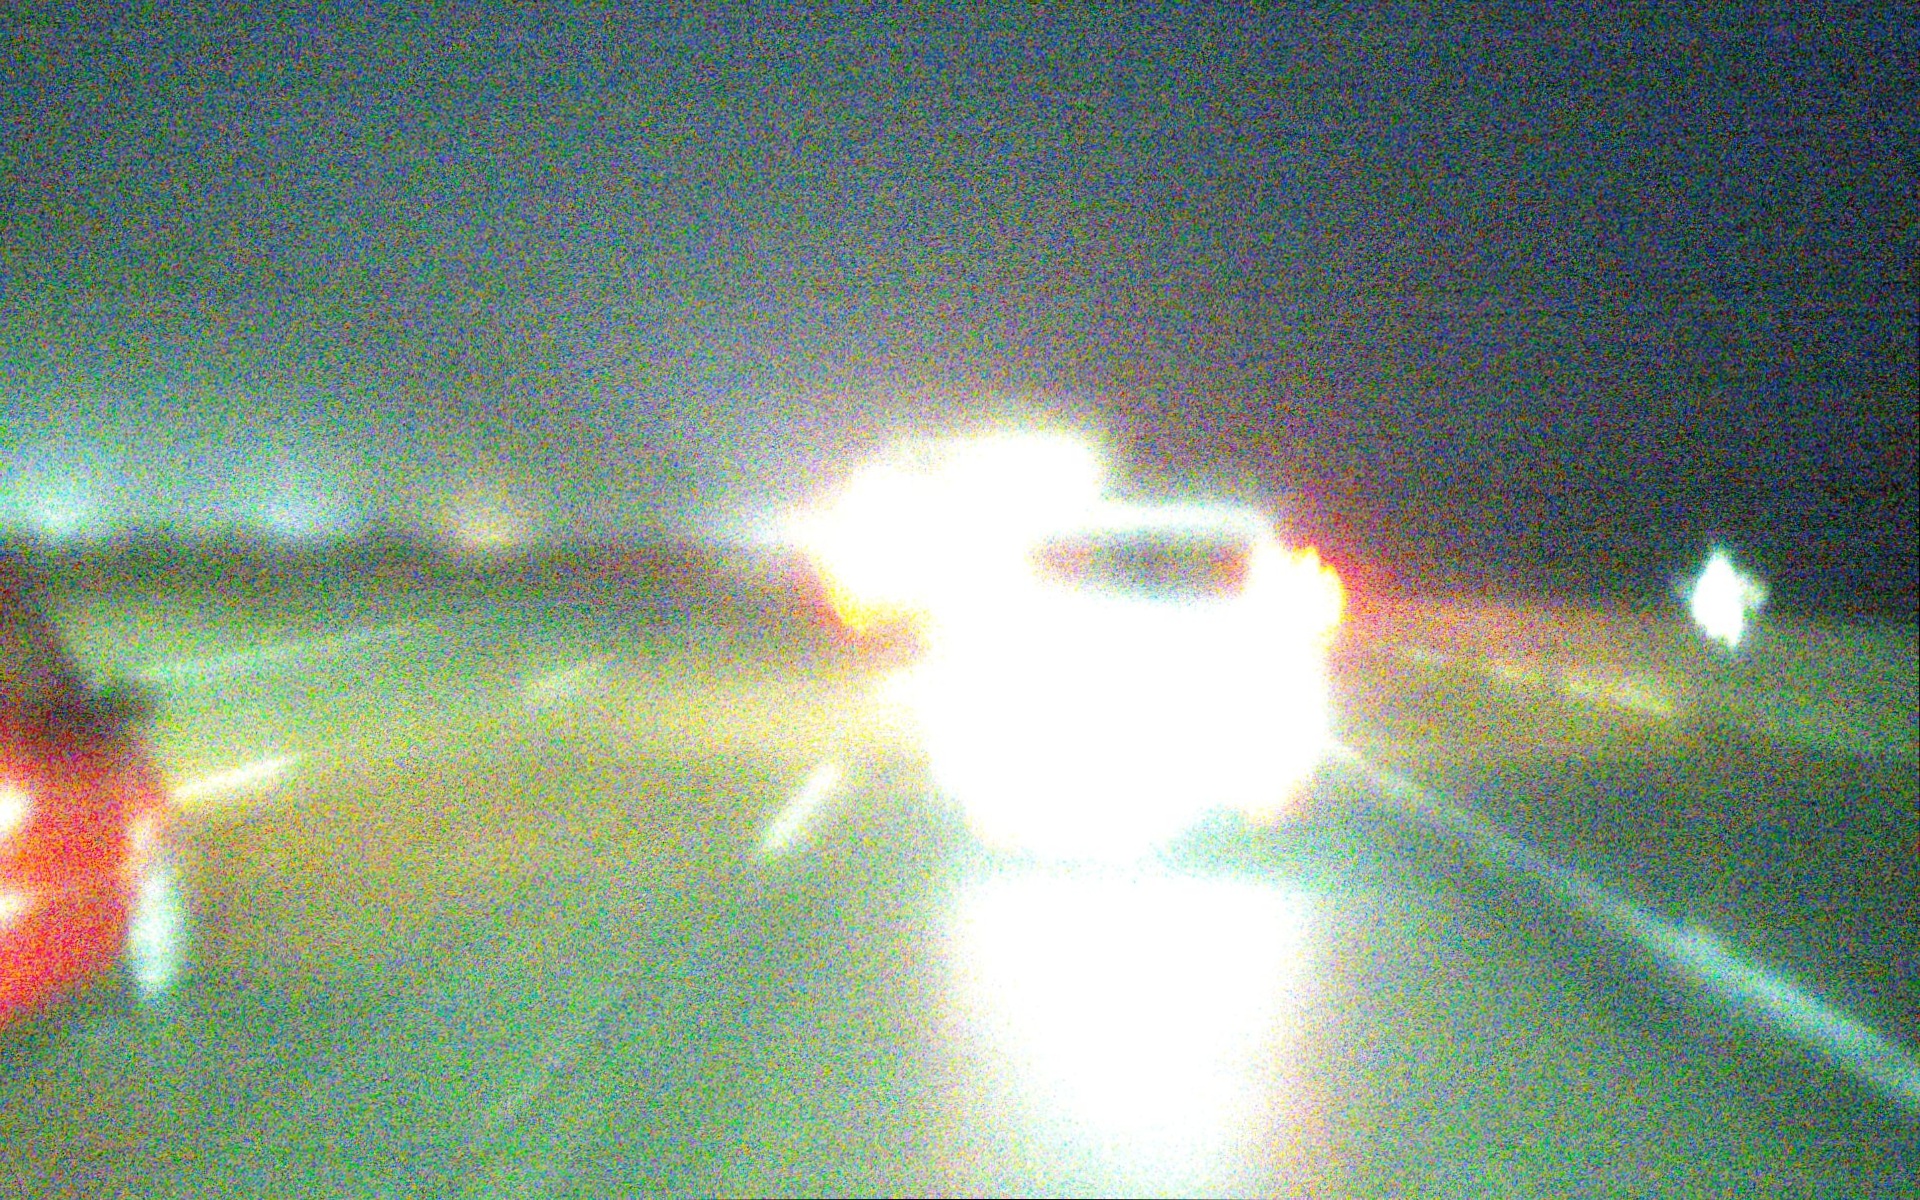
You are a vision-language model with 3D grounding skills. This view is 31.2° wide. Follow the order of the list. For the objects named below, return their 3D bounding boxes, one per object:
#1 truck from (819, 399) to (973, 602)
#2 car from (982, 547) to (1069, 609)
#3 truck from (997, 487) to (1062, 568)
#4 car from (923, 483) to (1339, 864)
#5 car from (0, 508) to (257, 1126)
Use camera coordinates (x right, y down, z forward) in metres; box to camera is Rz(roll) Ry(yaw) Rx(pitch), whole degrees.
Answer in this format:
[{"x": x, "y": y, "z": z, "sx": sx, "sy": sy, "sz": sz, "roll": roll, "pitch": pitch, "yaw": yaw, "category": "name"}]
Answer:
[{"x": -1.771, "y": -2.781, "z": 101.046, "sx": 4.167, "sy": 5.525, "sz": 13.074, "roll": 1, "pitch": 0, "yaw": 0, "category": "truck"}, {"x": 1.564, "y": -0.553, "z": 83.586, "sx": 1.890, "sy": 1.349, "sz": 4.000, "roll": 4, "pitch": 1, "yaw": -1, "category": "car"}, {"x": 4.340, "y": -4.556, "z": 218.035, "sx": 3.824, "sy": 4.898, "sz": 11.606, "roll": 1, "pitch": 0, "yaw": 0, "category": "truck"}, {"x": 0.813, "y": 0.334, "z": 18.892, "sx": 1.953, "sy": 1.786, "sz": 5.124, "roll": 1, "pitch": 0, "yaw": 0, "category": "car"}, {"x": -3.413, "y": 0.542, "z": 9.810, "sx": 1.916, "sy": 1.589, "sz": 4.233, "roll": 1, "pitch": 0, "yaw": 0, "category": "car"}]
